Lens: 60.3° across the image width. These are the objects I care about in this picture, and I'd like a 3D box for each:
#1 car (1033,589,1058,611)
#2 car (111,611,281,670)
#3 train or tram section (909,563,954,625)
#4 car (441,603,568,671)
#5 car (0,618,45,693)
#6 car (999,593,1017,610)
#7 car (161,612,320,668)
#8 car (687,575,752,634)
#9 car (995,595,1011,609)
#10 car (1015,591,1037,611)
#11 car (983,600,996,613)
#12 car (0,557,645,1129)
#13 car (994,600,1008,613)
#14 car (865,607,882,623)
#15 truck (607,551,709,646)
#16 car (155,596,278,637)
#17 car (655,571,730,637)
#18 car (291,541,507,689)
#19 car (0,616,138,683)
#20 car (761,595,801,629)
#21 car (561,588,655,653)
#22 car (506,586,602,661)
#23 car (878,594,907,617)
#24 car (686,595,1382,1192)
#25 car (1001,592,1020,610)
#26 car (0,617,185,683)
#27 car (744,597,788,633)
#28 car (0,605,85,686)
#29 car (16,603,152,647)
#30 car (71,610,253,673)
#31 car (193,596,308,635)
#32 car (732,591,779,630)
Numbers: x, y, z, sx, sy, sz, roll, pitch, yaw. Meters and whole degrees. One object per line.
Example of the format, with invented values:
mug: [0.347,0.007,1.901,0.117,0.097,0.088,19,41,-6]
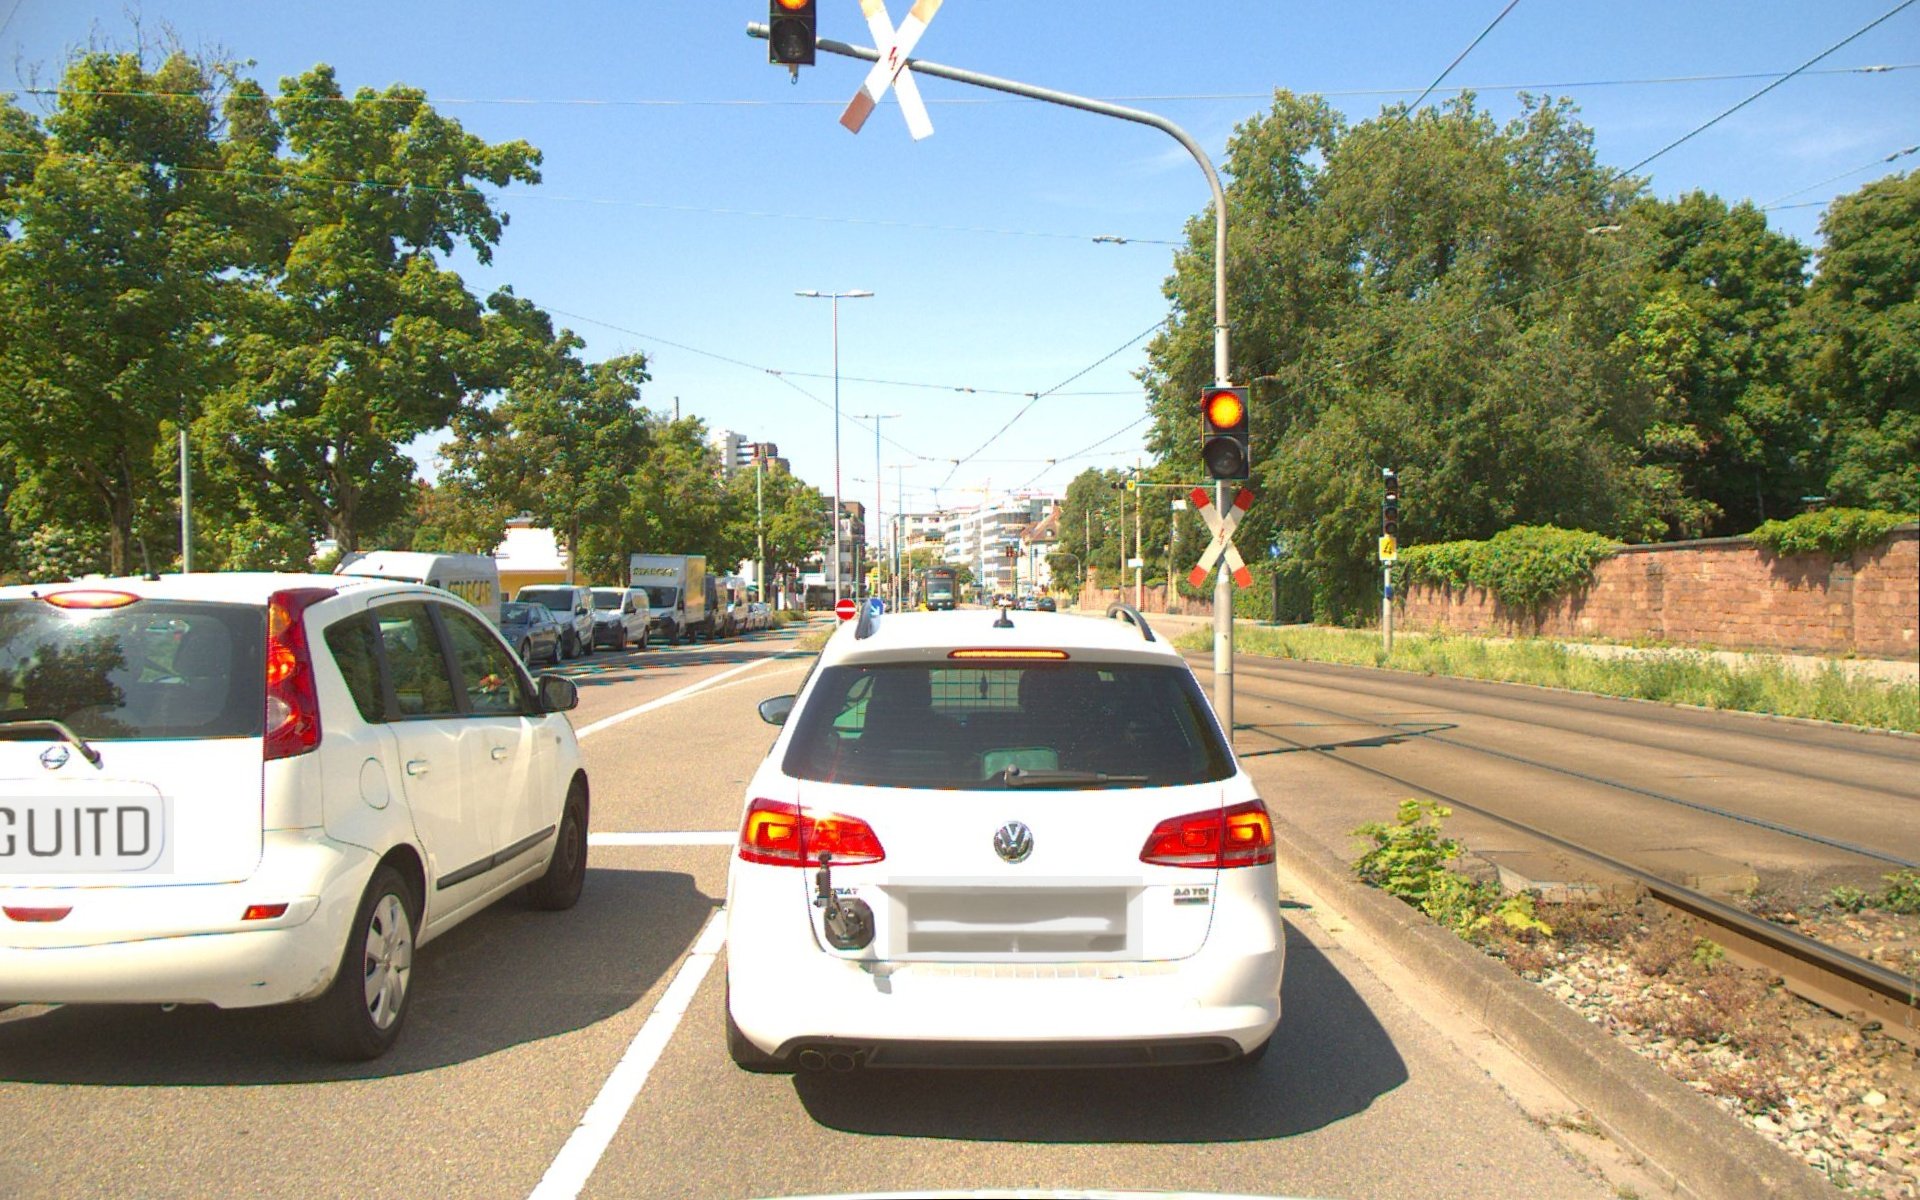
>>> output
car: [7.692,-0.012,149.048,1.826,1.900,5.060,1,0,-2]
car: [-21.248,1.120,46.113,3.909,1.440,1.728,-2,0,-5]
train or tram section: [-1.945,-0.391,112.523,2.812,3.923,12.389,-1,0,-1]
car: [-10.526,0.822,38.527,1.826,1.440,4.278,1,0,-1]
car: [-20.700,1.174,32.925,3.909,1.440,1.728,-2,0,-5]
car: [5.683,0.137,196.895,1.826,1.900,5.060,1,0,-2]
car: [-21.234,1.168,48.931,3.909,1.440,1.728,-2,0,-5]
car: [-10.929,0.189,75.579,2.079,2.560,5.733,1,0,0]
car: [5.753,0.243,219.391,1.826,1.900,5.060,1,0,-2]
car: [6.552,0.050,164.513,1.826,1.900,5.060,1,0,-2]
car: [4.516,1.020,254.571,1.826,1.900,5.060,1,0,-2]
car: [-2.555,0.659,6.825,1.628,1.575,4.546,0,0,0]
car: [5.931,0.930,239.930,1.826,1.900,5.060,1,0,-2]
car: [-10.245,1.756,196.140,1.726,1.929,4.913,1,0,-1]
truck: [-10.863,-0.076,60.146,2.371,3.205,6.996,1,0,0]
car: [-34.311,0.754,76.414,4.698,1.819,2.062,1,0,-5]
car: [-10.956,0.148,68.143,2.079,2.560,5.733,1,0,0]
car: [-10.712,0.257,32.125,2.079,2.560,5.817,1,0,1]
car: [-21.575,1.171,38.565,3.909,1.440,1.728,-2,0,-5]
car: [-10.635,0.695,98.421,1.826,1.900,5.412,1,0,-1]
car: [-10.922,0.598,51.720,1.826,1.900,5.412,1,0,-1]
car: [-10.991,0.594,45.130,1.827,1.900,5.068,1,0,-6]
car: [-4.554,0.338,112.090,1.670,1.499,4.589,-1,0,0]
car: [0.163,0.729,6.170,1.726,1.455,3.999,-1,0,-1]
car: [5.504,0.059,180.697,1.826,1.900,5.060,1,0,-2]
car: [-21.720,1.227,41.242,3.909,1.440,1.728,-2,0,-5]
car: [-10.695,0.795,91.504,1.826,1.900,5.412,1,0,-1]
car: [-21.043,1.016,35.119,3.909,1.638,1.728,-2,0,-5]
car: [-37.757,1.065,71.388,4.698,1.819,2.062,1,0,-5]
car: [-21.071,1.086,43.785,3.909,1.440,1.728,-2,0,-5]
car: [-34.836,0.770,81.310,4.698,1.819,2.062,1,0,-5]
car: [-10.425,0.519,84.694,1.826,1.900,5.412,1,0,-1]
